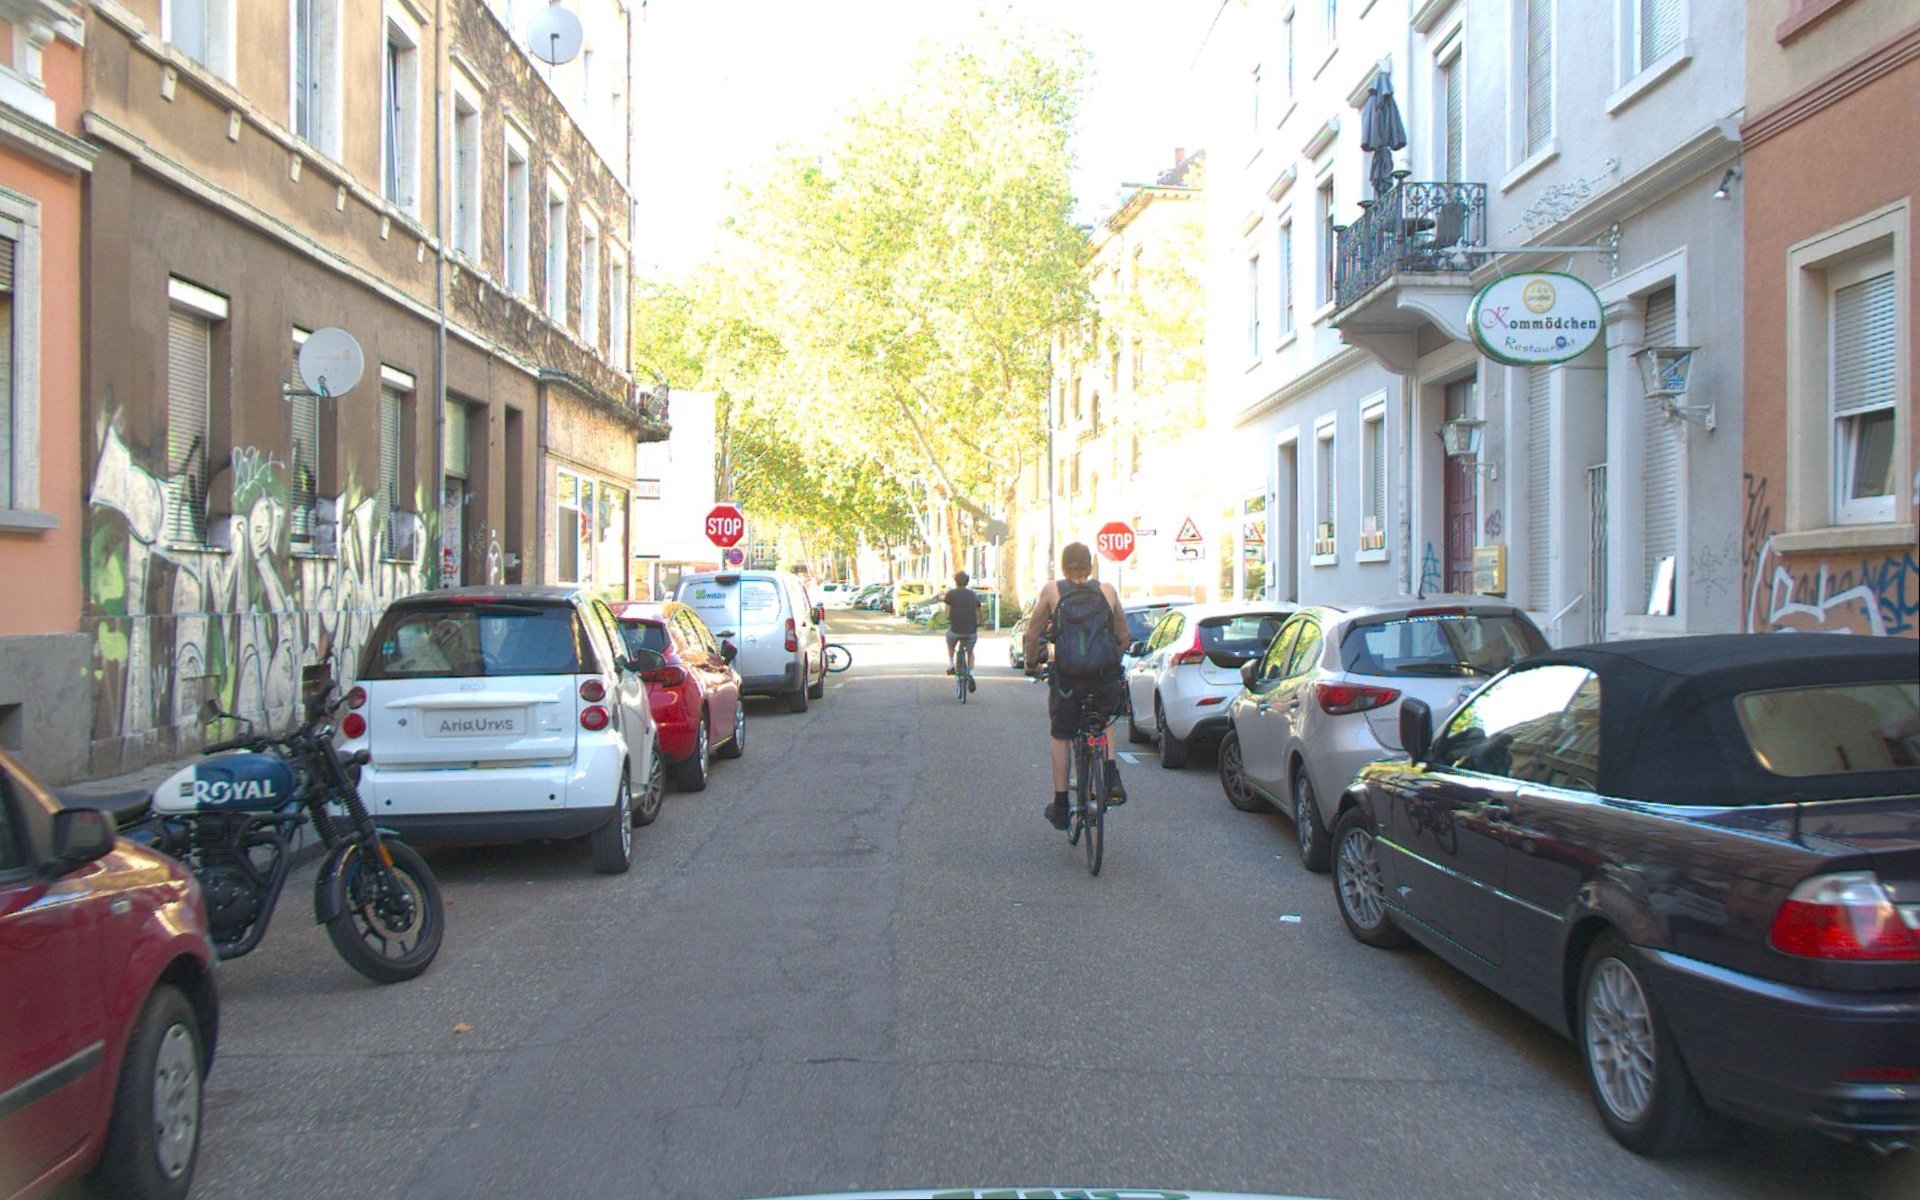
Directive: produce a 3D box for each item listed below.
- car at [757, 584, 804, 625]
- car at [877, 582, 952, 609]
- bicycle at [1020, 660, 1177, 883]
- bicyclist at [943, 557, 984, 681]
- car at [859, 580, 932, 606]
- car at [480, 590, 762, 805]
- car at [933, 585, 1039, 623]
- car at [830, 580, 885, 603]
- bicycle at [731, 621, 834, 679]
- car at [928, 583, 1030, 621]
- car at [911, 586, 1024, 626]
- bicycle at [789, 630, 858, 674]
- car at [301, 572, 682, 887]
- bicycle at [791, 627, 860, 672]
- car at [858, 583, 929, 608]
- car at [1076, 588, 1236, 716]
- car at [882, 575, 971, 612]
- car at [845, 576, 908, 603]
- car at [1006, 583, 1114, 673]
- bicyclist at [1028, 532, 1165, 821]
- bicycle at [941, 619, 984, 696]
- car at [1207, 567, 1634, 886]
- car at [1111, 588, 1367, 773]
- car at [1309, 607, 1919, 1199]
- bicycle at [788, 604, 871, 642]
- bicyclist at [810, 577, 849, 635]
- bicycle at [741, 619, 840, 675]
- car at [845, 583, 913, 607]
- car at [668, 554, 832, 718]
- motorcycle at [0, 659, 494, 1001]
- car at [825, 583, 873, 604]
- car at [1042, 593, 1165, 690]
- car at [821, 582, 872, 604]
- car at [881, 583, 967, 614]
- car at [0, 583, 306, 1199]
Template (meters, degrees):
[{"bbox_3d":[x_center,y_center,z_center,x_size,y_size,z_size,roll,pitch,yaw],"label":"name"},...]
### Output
[{"bbox_3d":[-7.299,0.148,66.953,1.613,1.520,3.991,-2,1,-9],"label":"car"},{"bbox_3d":[-2.773,-0.285,100.271,4.379,1.598,1.725,0,0,-9],"label":"car"},{"bbox_3d":[0.737,0.903,9.325,0.675,1.034,1.907,2,0,-1],"label":"bicycle"},{"bbox_3d":[0.040,0.270,23.300,0.531,1.717,0.653,1,-1,-2],"label":"bicyclist"},{"bbox_3d":[-4.045,-0.459,103.318,4.379,1.598,1.725,0,0,-9],"label":"car"},{"bbox_3d":[-2.707,0.693,14.104,1.645,1.499,4.201,-2,0,-2],"label":"car"},{"bbox_3d":[1.123,0.160,72.087,4.379,1.598,1.725,0,0,-9],"label":"car"},{"bbox_3d":[-8.396,-0.702,135.422,4.379,1.931,1.725,0,0,-9],"label":"car"},{"bbox_3d":[-3.032,0.856,28.337,1.729,0.978,0.405,0,0,-3],"label":"bicycle"},{"bbox_3d":[0.836,0.076,74.151,4.379,1.700,1.725,0,0,-9],"label":"car"},{"bbox_3d":[0.300,0.238,67.100,4.379,1.598,1.725,0,0,-9],"label":"car"},{"bbox_3d":[-2.637,1.003,31.915,1.285,0.832,0.370,0,0,-11],"label":"bicycle"},{"bbox_3d":[-2.649,0.649,9.992,1.646,1.576,2.957,-1,0,-5],"label":"car"},{"bbox_3d":[-2.573,0.948,31.544,1.285,0.832,0.354,0,0,-11],"label":"bicycle"},{"bbox_3d":[-4.248,-0.294,105.785,4.379,1.598,1.725,0,0,-9],"label":"car"},{"bbox_3d":[2.665,0.660,23.262,1.604,1.614,3.786,2,0,-3],"label":"car"},{"bbox_3d":[-1.724,-0.343,84.933,4.380,1.868,1.724,0,0,-10],"label":"car"},{"bbox_3d":[-6.076,-0.781,120.051,4.379,1.931,1.725,0,0,-9],"label":"car"},{"bbox_3d":[1.984,0.526,33.907,1.725,1.691,4.195,2,0,-3],"label":"car"},{"bbox_3d":[0.750,0.412,9.249,0.662,1.539,0.668,2,0,-1],"label":"bicyclist"},{"bbox_3d":[0.030,0.798,23.502,0.540,1.034,1.628,1,0,-2],"label":"bicycle"},{"bbox_3d":[2.722,0.650,10.753,1.644,1.625,4.191,2,0,1],"label":"car"},{"bbox_3d":[2.571,0.678,16.209,1.645,1.537,4.188,2,0,-2],"label":"car"},{"bbox_3d":[2.635,0.782,5.766,1.732,1.419,4.493,2,0,-2],"label":"car"},{"bbox_3d":[-3.834,0.673,48.584,2.377,1.112,0.894,0,-1,-8],"label":"bicycle"},{"bbox_3d":[-3.840,0.187,48.583,1.076,1.668,0.894,0,-1,-8],"label":"bicyclist"},{"bbox_3d":[-3.049,0.837,29.752,1.734,0.978,0.480,0,0,-14],"label":"bicycle"},{"bbox_3d":[-5.419,-0.318,110.425,4.379,1.598,1.725,0,0,-9],"label":"car"},{"bbox_3d":[-2.778,0.430,22.758,1.645,1.943,4.518,-3,0,-1],"label":"car"},{"bbox_3d":[-2.904,0.828,6.355,2.046,1.148,0.785,1,0,-23],"label":"motorcycle"},{"bbox_3d":[-10.381,-0.575,154.630,4.379,1.931,1.725,0,0,-9],"label":"car"},{"bbox_3d":[2.443,0.668,29.018,1.612,1.529,3.953,2,0,-3],"label":"car"},{"bbox_3d":[-9.988,-0.642,145.774,4.379,1.931,1.725,0,0,-9],"label":"car"},{"bbox_3d":[-1.903,-0.066,86.942,4.379,1.598,1.725,0,0,-9],"label":"car"},{"bbox_3d":[-2.563,0.728,2.792,1.646,1.518,3.610,0,0,-3],"label":"car"}]
